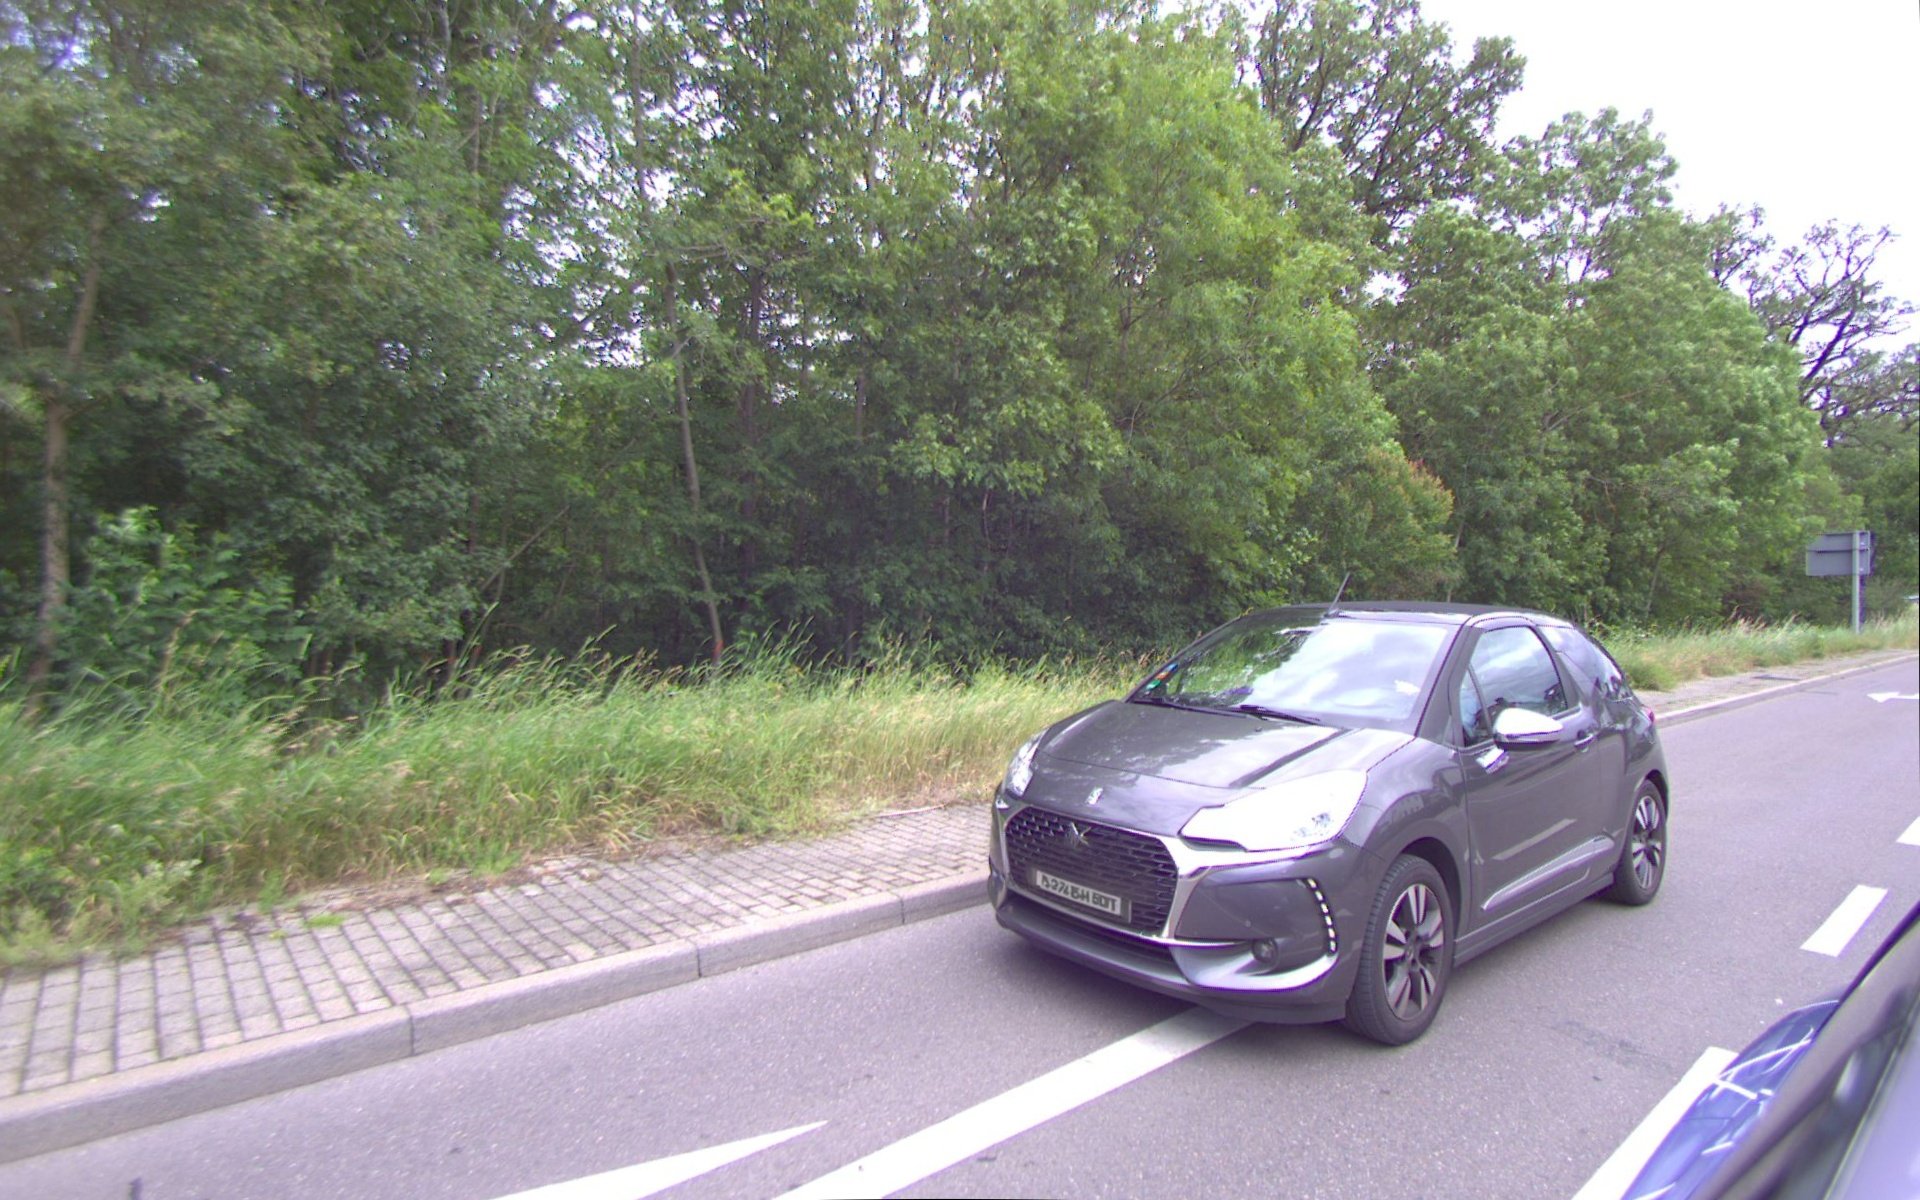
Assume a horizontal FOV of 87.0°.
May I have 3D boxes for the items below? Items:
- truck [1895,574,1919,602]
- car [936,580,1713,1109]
[{"bbox_3d":[127.456,-1.587,135.423,2.995,3.684,6.985,1,1,40],"label":"truck"},{"bbox_3d":[1.901,0.665,4.708,3.786,1.476,1.729,0,0,-40],"label":"car"}]
